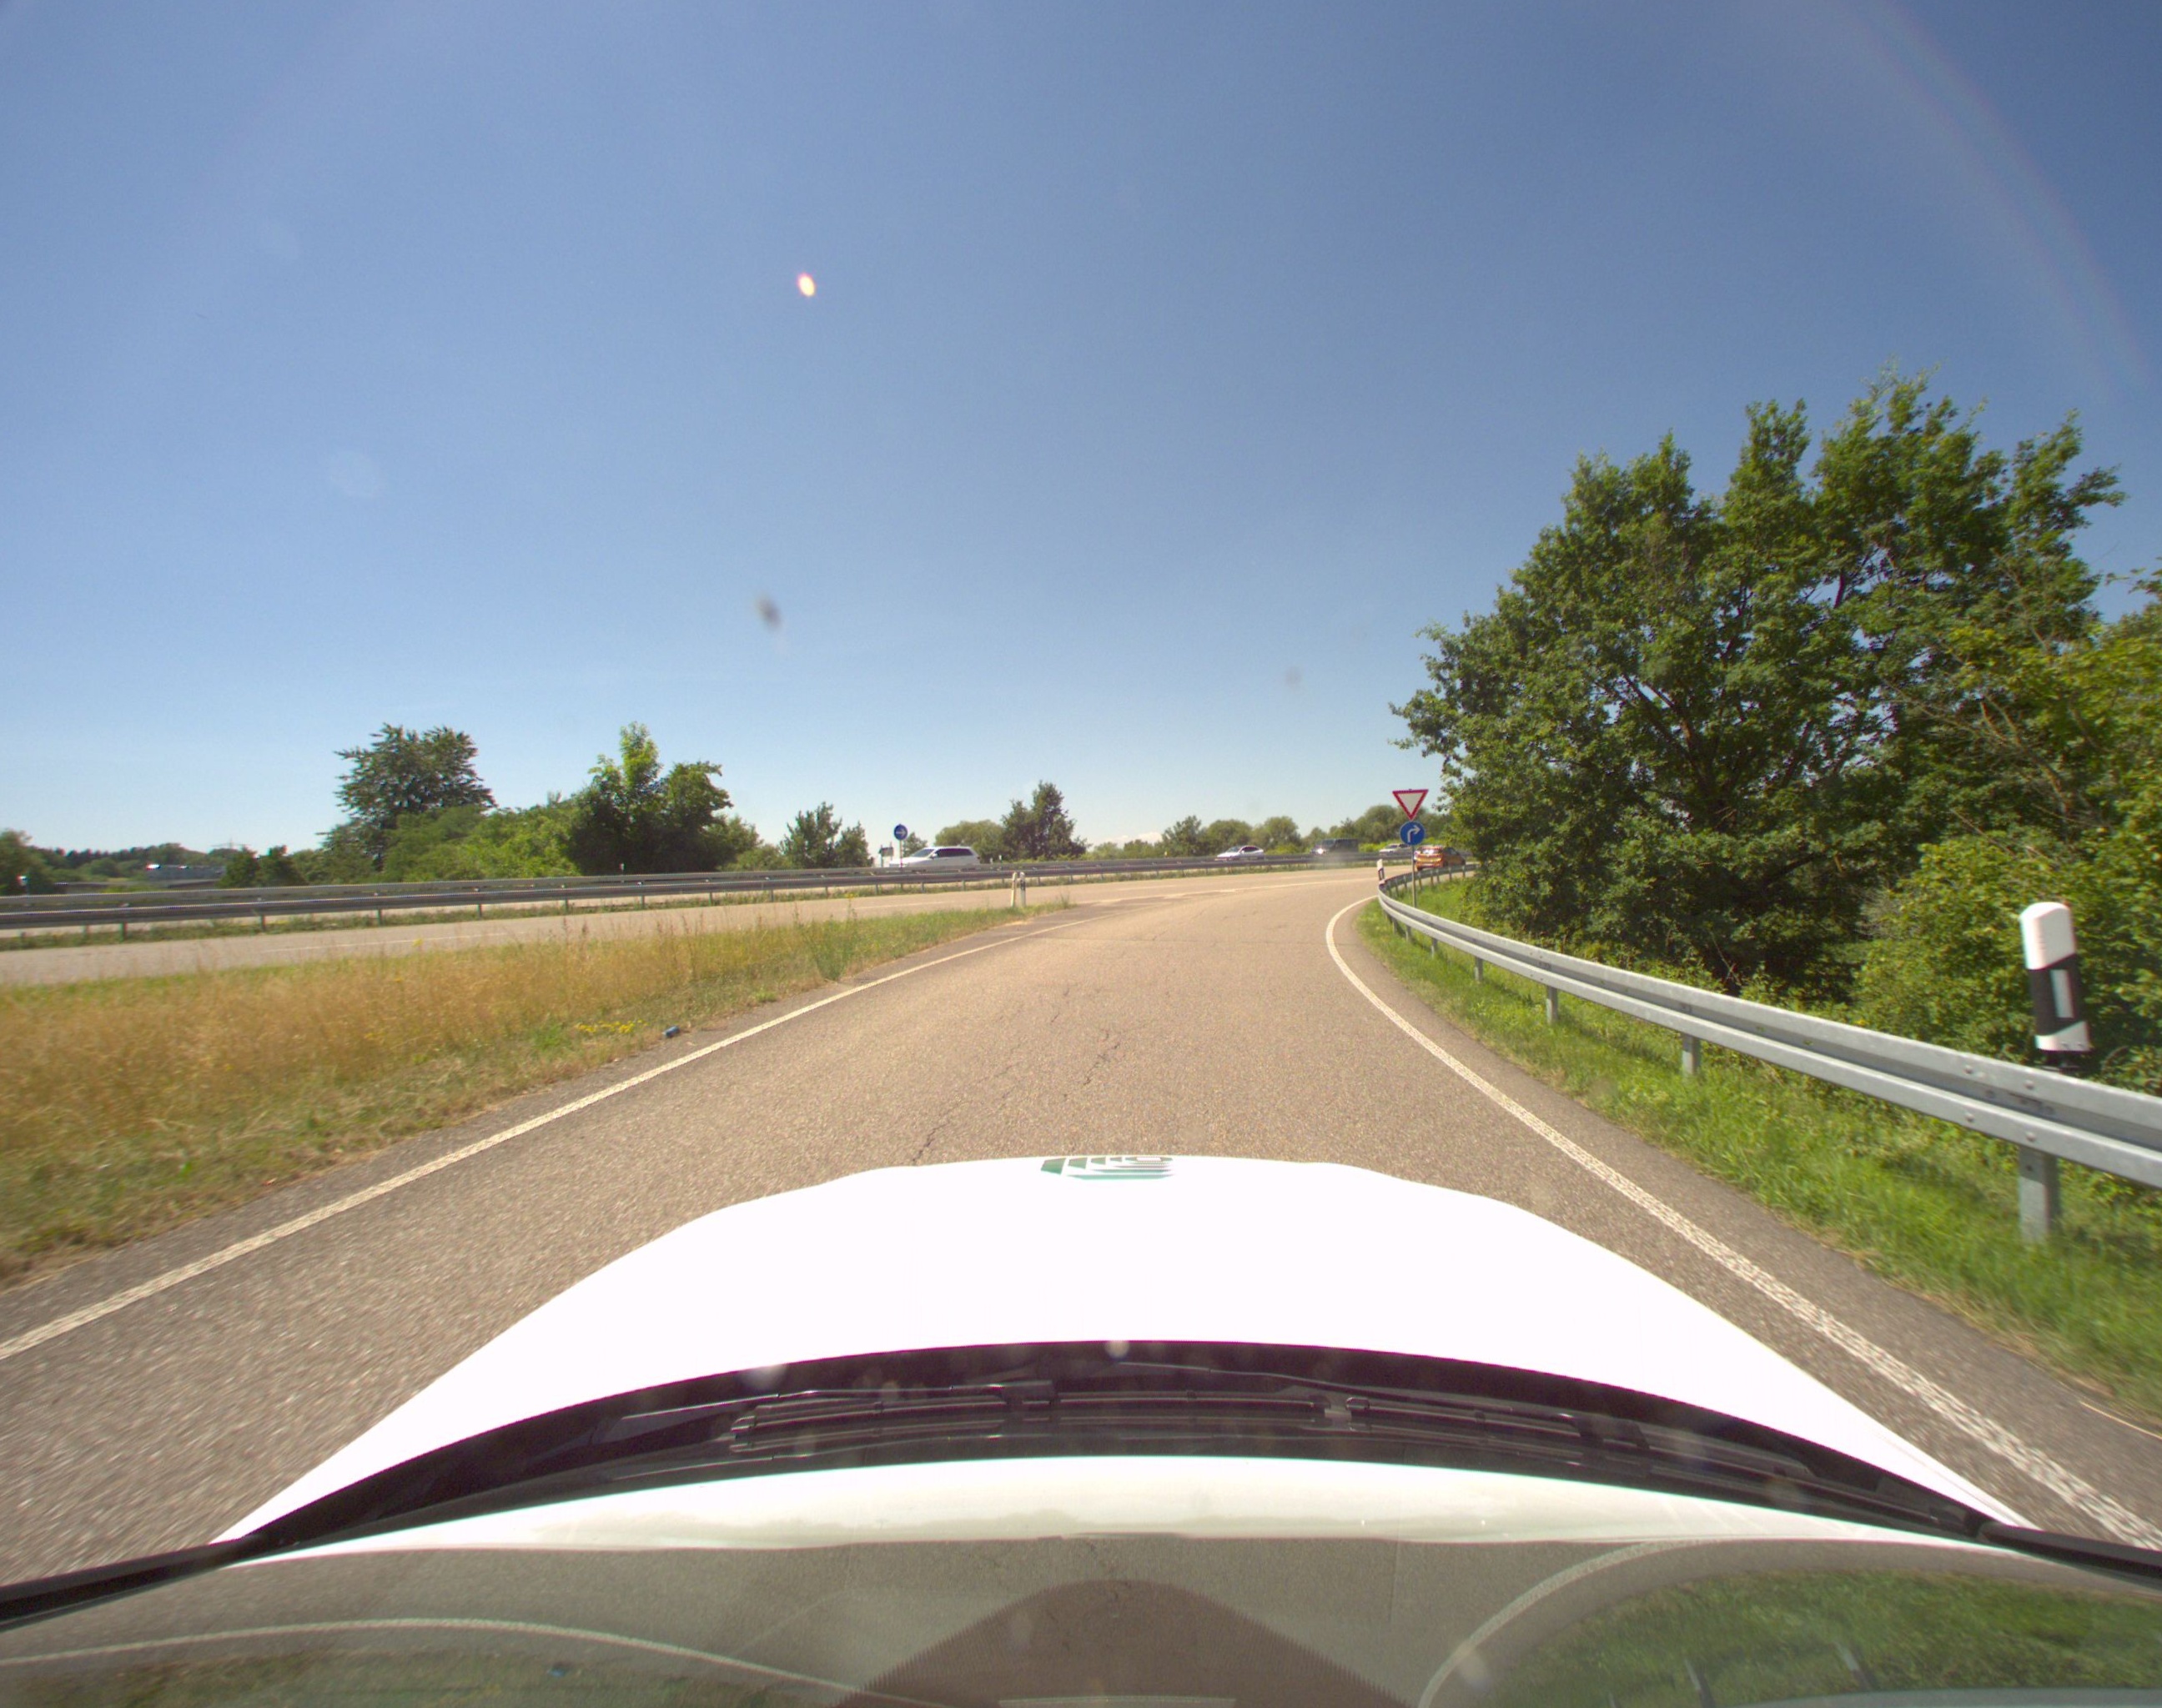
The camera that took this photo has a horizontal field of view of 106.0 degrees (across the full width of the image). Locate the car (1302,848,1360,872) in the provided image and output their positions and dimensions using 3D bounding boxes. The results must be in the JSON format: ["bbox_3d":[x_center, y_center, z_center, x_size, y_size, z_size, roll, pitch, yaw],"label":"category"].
[{"bbox_3d":[20.132,0.504,65.548,4.938,1.893,2.185,1,-1,-41],"label":"car"}]

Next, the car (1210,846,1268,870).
[{"bbox_3d":[12.966,0.314,66.729,4.934,1.893,1.919,1,-1,-37],"label":"car"}]

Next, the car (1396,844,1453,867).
[{"bbox_3d":[23.647,0.084,56.041,4.018,1.451,1.827,-1,1,-37],"label":"car"}]

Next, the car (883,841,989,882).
[{"bbox_3d":[-7.092,0.380,40.217,4.940,1.893,1.975,1,-1,-45],"label":"car"}]

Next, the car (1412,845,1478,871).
[{"bbox_3d":[21.479,0.201,48.003,4.018,1.464,1.827,-1,1,-37],"label":"car"}]

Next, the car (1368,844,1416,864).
[{"bbox_3d":[30.842,0.034,80.732,4.935,1.893,2.186,1,-1,-38],"label":"car"}]
